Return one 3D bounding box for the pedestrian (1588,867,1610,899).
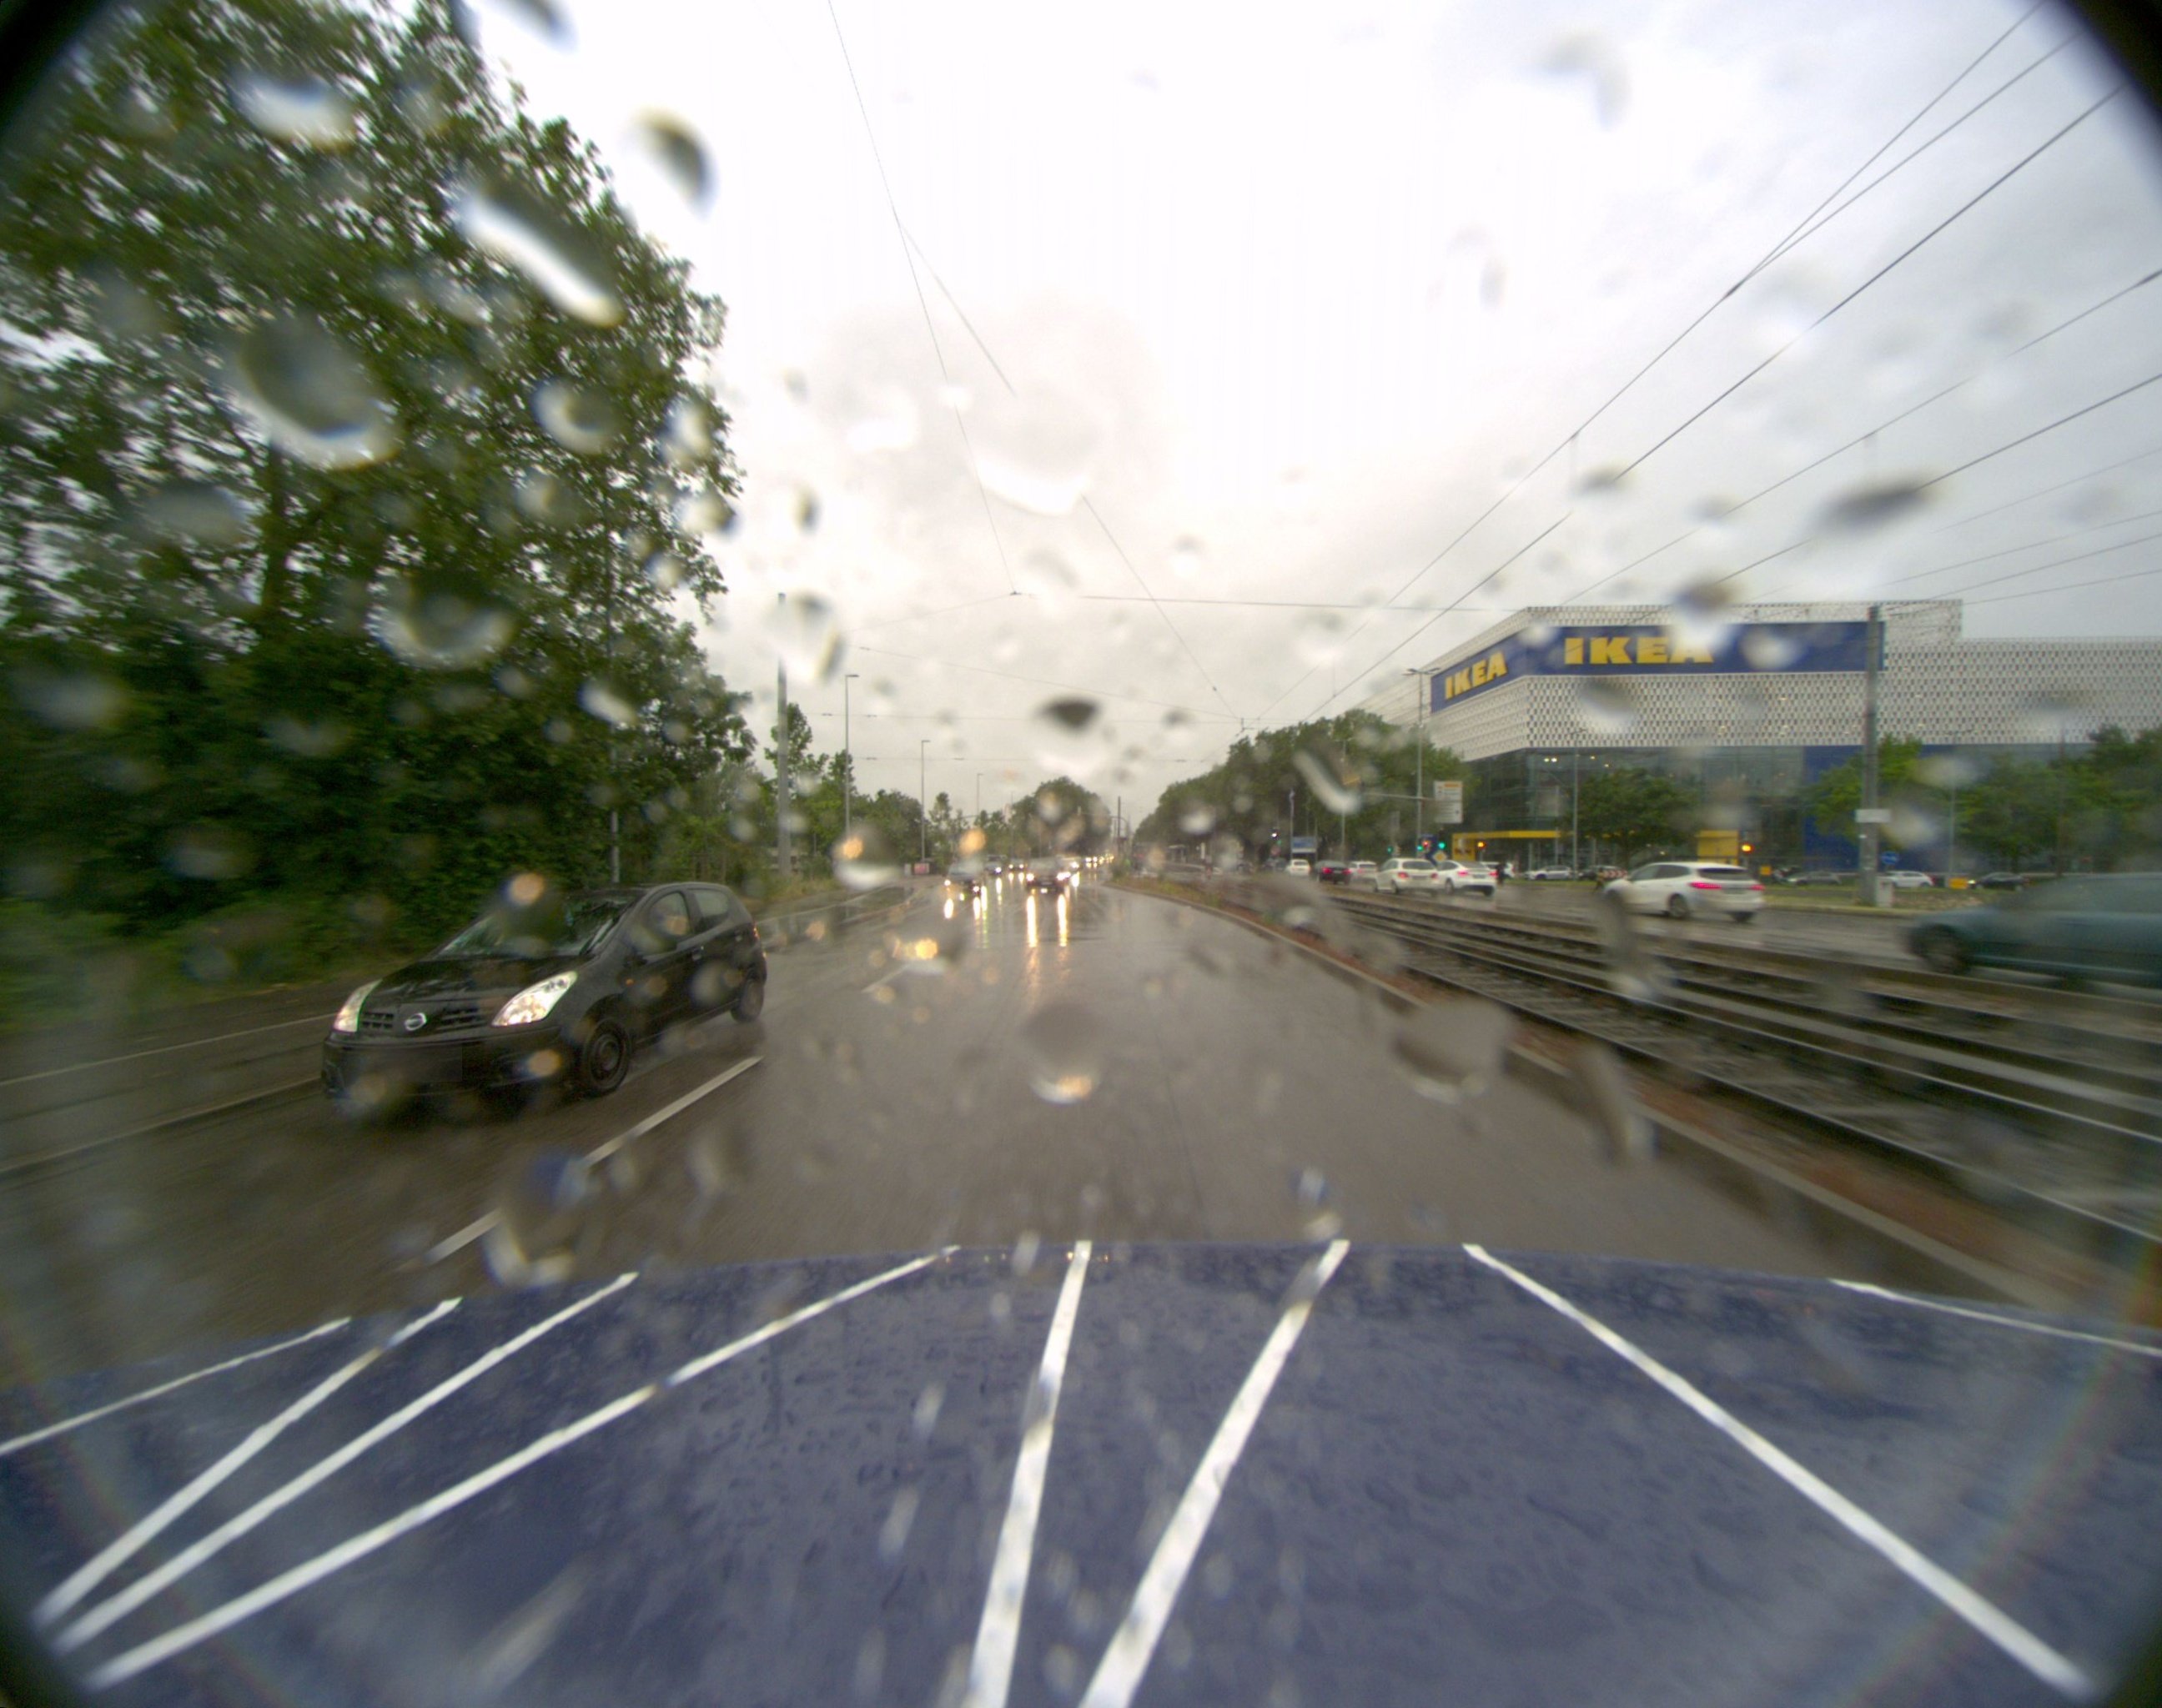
[{"bbox_3d":[30.296,1.709,44.480,0.715,1.807,0.768,-2,1,-5],"label":"pedestrian"}]

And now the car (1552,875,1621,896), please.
[{"bbox_3d":[41.808,2.622,62.895,4.377,1.531,1.820,-2,-1,4],"label":"car"}]

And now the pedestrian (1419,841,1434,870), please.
[{"bbox_3d":[27.827,0.116,61.234,0.919,2.232,0.990,-2,2,16],"label":"pedestrian"}]

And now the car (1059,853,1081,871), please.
[{"bbox_3d":[-1.108,0.796,79.843,1.994,1.778,4.553,-2,0,2],"label":"car"}]

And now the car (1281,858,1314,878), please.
[{"bbox_3d":[16.927,1.087,59.545,1.716,1.526,4.049,-2,-1,4],"label":"car"}]

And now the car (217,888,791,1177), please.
[{"bbox_3d":[-4.039,1.099,6.355,1.776,1.453,4.092,-2,-1,-3],"label":"car"}]

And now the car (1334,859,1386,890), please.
[{"bbox_3d":[19.237,1.399,52.691,1.998,1.890,4.791,-2,1,3],"label":"car"}]

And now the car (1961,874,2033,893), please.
[{"bbox_3d":[76.654,2.437,63.612,3.821,1.399,1.603,-2,1,5],"label":"car"}]

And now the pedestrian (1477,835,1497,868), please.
[{"bbox_3d":[24.631,-0.157,46.072,0.696,2.002,0.857,-2,1,-5],"label":"pedestrian"}]

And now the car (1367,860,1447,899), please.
[{"bbox_3d":[14.232,1.078,33.443,1.877,1.564,4.330,-2,-1,4],"label":"car"}]

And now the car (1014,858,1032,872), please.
[{"bbox_3d":[-6.884,1.303,90.299,1.715,1.515,4.179,-2,-1,2],"label":"car"}]

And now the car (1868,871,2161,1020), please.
[{"bbox_3d":[12.376,1.031,8.681,1.998,1.448,4.672,2,1,3],"label":"car"}]

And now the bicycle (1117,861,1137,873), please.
[{"bbox_3d":[4.468,1.265,73.739,1.870,1.002,0.670,-2,-1,0],"label":"bicycle"}]

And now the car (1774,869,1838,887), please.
[{"bbox_3d":[62.002,2.075,65.016,3.821,1.399,1.603,-2,1,5],"label":"car"}]

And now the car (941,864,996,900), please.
[{"bbox_3d":[-5.015,1.238,34.403,1.715,1.476,4.044,-2,-1,2],"label":"car"}]

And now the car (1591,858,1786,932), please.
[{"bbox_3d":[17.069,1.065,21.735,1.998,1.823,4.693,0,1,3],"label":"car"}]

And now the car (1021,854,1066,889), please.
[{"bbox_3d":[-1.769,0.835,36.779,1.876,1.573,4.044,-2,-1,1],"label":"car"}]

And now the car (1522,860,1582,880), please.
[{"bbox_3d":[40.961,1.406,66.121,4.014,1.608,1.760,-2,1,4],"label":"car"}]

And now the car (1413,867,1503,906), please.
[{"bbox_3d":[17.706,1.463,35.963,1.912,1.597,4.843,-3,0,1],"label":"car"}]

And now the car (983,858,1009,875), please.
[{"bbox_3d":[-7.861,1.181,70.689,1.715,1.515,4.179,-2,-1,2],"label":"car"}]

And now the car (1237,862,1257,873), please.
[{"bbox_3d":[19.703,1.568,90.338,1.716,1.242,4.049,-2,-1,4],"label":"car"}]

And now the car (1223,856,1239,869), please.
[{"bbox_3d":[20.722,1.207,105.224,1.715,1.697,4.432,-2,-1,6],"label":"car"}]

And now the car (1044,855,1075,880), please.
[{"bbox_3d":[-1.357,0.852,48.775,1.715,1.515,4.044,-2,-1,2],"label":"car"}]

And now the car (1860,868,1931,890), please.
[{"bbox_3d":[68.810,2.092,64.249,4.009,1.664,1.682,-2,1,5],"label":"car"}]

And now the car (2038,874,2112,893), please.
[{"bbox_3d":[82.570,2.448,63.149,3.821,1.399,1.603,-2,1,5],"label":"car"}]

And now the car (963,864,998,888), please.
[{"bbox_3d":[-6.828,1.491,52.126,1.715,1.515,4.044,-2,-1,2],"label":"car"}]

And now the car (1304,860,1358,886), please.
[{"bbox_3d":[15.628,1.170,47.781,1.927,1.415,5.085,3,-1,4],"label":"car"}]

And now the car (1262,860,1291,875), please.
[{"bbox_3d":[18.174,1.237,70.711,1.716,1.242,4.463,-2,-1,3],"label":"car"}]

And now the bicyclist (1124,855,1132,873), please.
[{"bbox_3d":[4.570,0.968,73.673,0.618,1.721,0.793,-2,0,0],"label":"bicyclist"}]

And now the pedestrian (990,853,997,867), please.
[{"bbox_3d":[-10.393,0.701,90.082,0.734,1.602,0.618,0,1,2],"label":"pedestrian"}]

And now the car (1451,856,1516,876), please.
[{"bbox_3d":[33.706,1.007,63.675,4.458,1.531,1.820,-1,-1,4],"label":"car"}]
